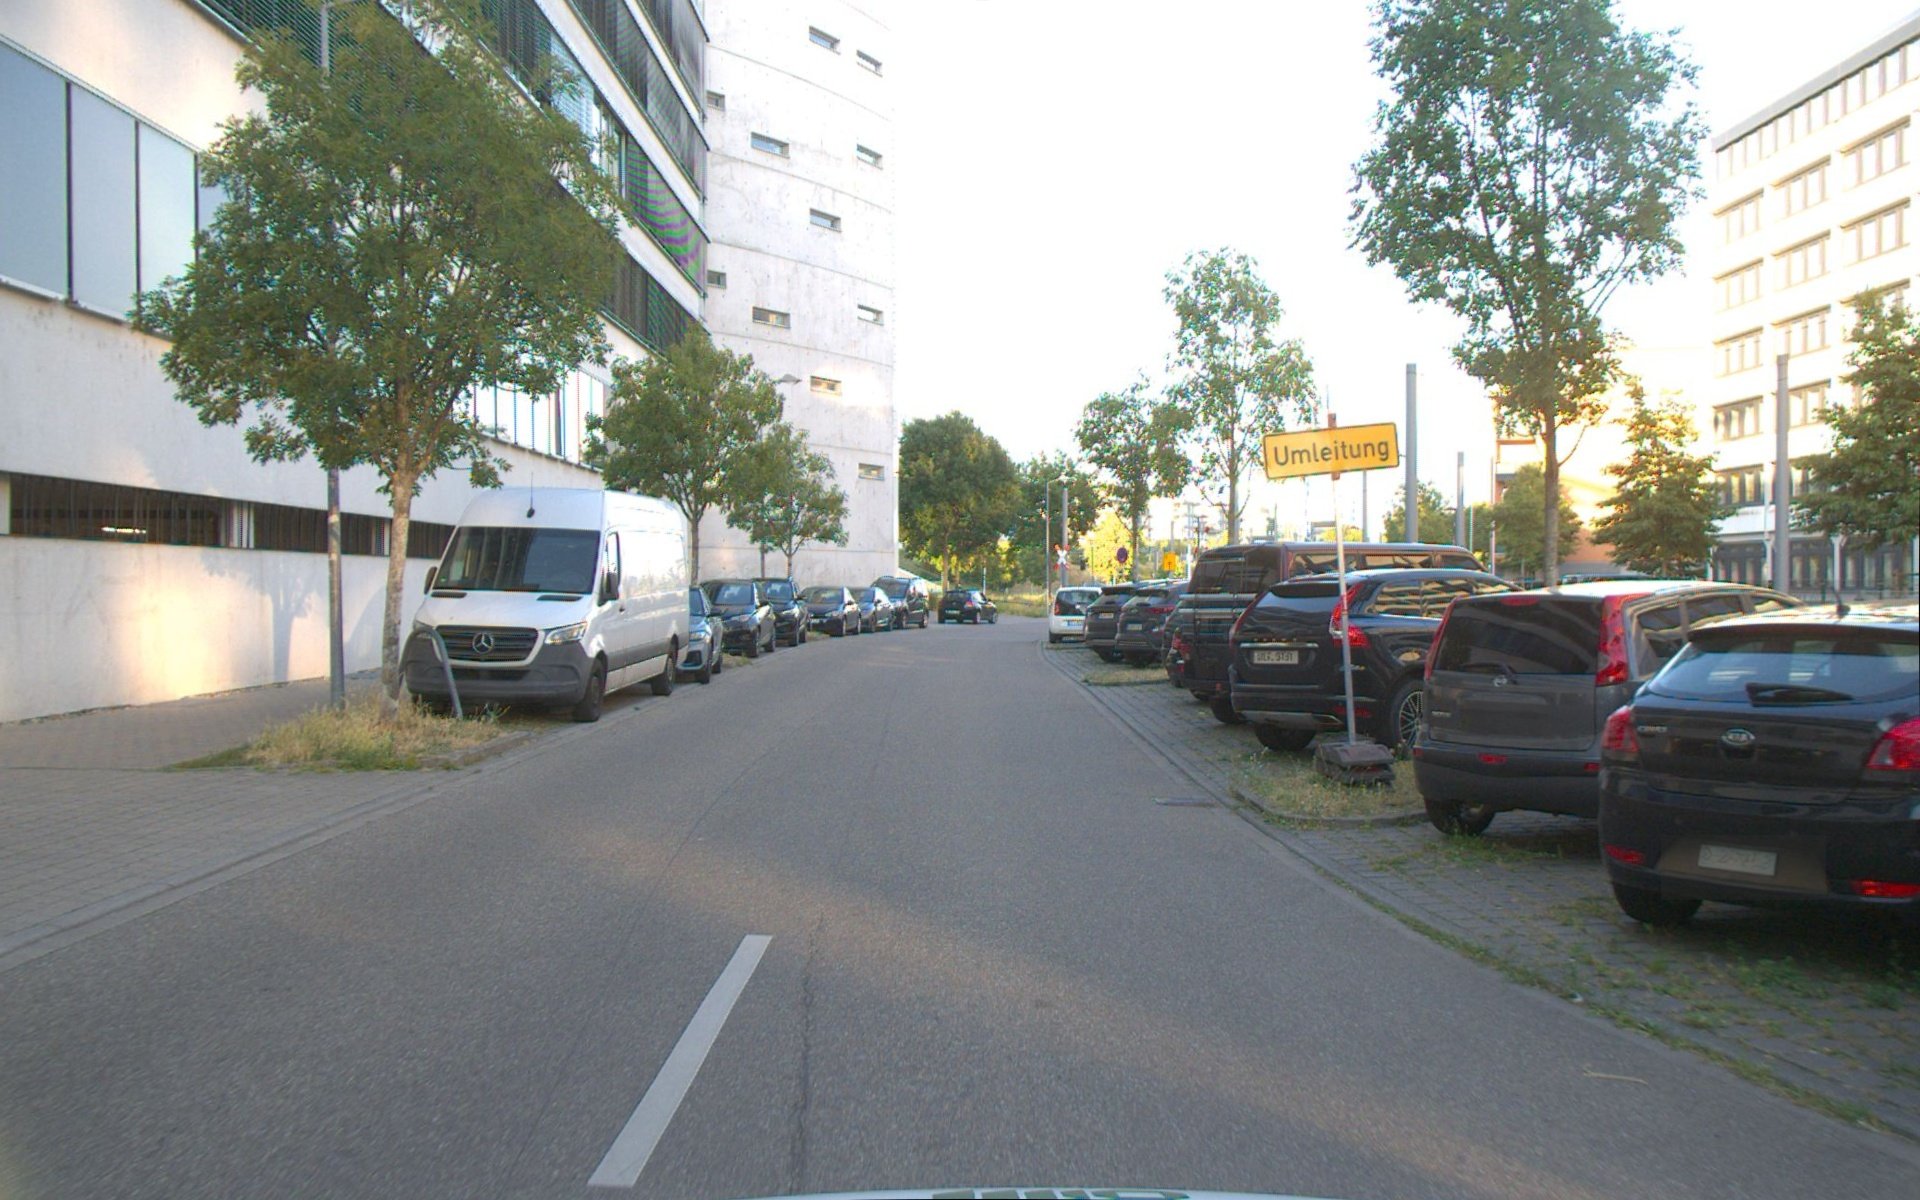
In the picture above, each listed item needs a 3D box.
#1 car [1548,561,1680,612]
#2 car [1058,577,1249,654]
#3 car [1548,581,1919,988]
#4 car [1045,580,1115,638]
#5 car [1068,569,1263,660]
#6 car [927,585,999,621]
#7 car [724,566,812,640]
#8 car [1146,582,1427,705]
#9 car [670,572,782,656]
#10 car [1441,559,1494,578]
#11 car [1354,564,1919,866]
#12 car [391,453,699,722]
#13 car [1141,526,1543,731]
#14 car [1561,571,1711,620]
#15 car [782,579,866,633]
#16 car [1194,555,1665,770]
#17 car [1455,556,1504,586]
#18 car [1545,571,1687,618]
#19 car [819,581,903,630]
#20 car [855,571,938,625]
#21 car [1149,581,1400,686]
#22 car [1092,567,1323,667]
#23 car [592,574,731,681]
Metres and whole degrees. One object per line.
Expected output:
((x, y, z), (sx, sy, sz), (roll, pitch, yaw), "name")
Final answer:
((25.507, -0.526, 64.592), (4.403, 1.970, 1.932), (0, 0, 1), "car")
((4.370, 0.312, 37.234), (3.879, 1.535, 1.937), (-3, 1, -30), "car")
((4.668, 0.662, 7.890), (3.960, 1.490, 1.713), (-1, 1, -39), "car")
((3.343, 0.223, 45.491), (1.685, 1.493, 3.556), (-1, 1, 8), "car")
((4.241, 0.280, 34.028), (3.732, 1.755, 1.744), (1, 1, -33), "car")
((0.172, 0.104, 70.537), (1.903, 1.406, 4.402), (2, 1, 16), "car")
((-4.695, 0.039, 40.950), (1.720, 1.682, 3.948), (2, 1, -1), "car")
((4.446, 0.546, 22.327), (3.737, 1.490, 1.618), (1, 1, -36), "car")
((-4.844, 0.238, 34.788), (1.720, 1.588, 4.043), (2, 1, 0), "car")
((42.216, -2.623, 137.639), (4.071, 1.603, 1.702), (0, 1, 25), "car")
((4.562, 0.655, 10.810), (3.956, 1.623, 1.715), (2, 0, -37), "car")
((-4.755, -0.200, 20.214), (1.918, 2.662, 6.893), (2, 1, 0), "car")
((4.407, 0.280, 18.805), (4.548, 2.071, 1.849), (1, 1, -34), "car")
((22.964, -0.176, 56.270), (4.404, 1.630, 1.694), (0, 0, -1), "car")
((-4.039, 0.147, 49.735), (1.686, 1.482, 4.275), (2, 1, 6), "car")
((4.564, 0.518, 15.820), (4.548, 1.779, 1.849), (1, 1, -34), "car")
((46.511, -2.601, 148.055), (4.068, 2.629, 1.703), (0, 0, 22), "car")
((23.259, -0.208, 58.722), (4.404, 1.630, 1.694), (0, 0, -1), "car")
((-3.251, 0.137, 55.244), (1.686, 1.482, 4.698), (2, 1, 10), "car")
((-2.275, -0.110, 60.233), (1.720, 1.830, 4.467), (2, 1, 15), "car")
((4.896, 0.486, 25.612), (3.737, 1.467, 1.741), (1, 1, -36), "car")
((4.685, 0.290, 31.319), (3.929, 1.668, 1.955), (-2, 0, -28), "car")
((-4.585, 0.365, 25.874), (1.721, 1.464, 3.898), (2, 1, -5), "car")
